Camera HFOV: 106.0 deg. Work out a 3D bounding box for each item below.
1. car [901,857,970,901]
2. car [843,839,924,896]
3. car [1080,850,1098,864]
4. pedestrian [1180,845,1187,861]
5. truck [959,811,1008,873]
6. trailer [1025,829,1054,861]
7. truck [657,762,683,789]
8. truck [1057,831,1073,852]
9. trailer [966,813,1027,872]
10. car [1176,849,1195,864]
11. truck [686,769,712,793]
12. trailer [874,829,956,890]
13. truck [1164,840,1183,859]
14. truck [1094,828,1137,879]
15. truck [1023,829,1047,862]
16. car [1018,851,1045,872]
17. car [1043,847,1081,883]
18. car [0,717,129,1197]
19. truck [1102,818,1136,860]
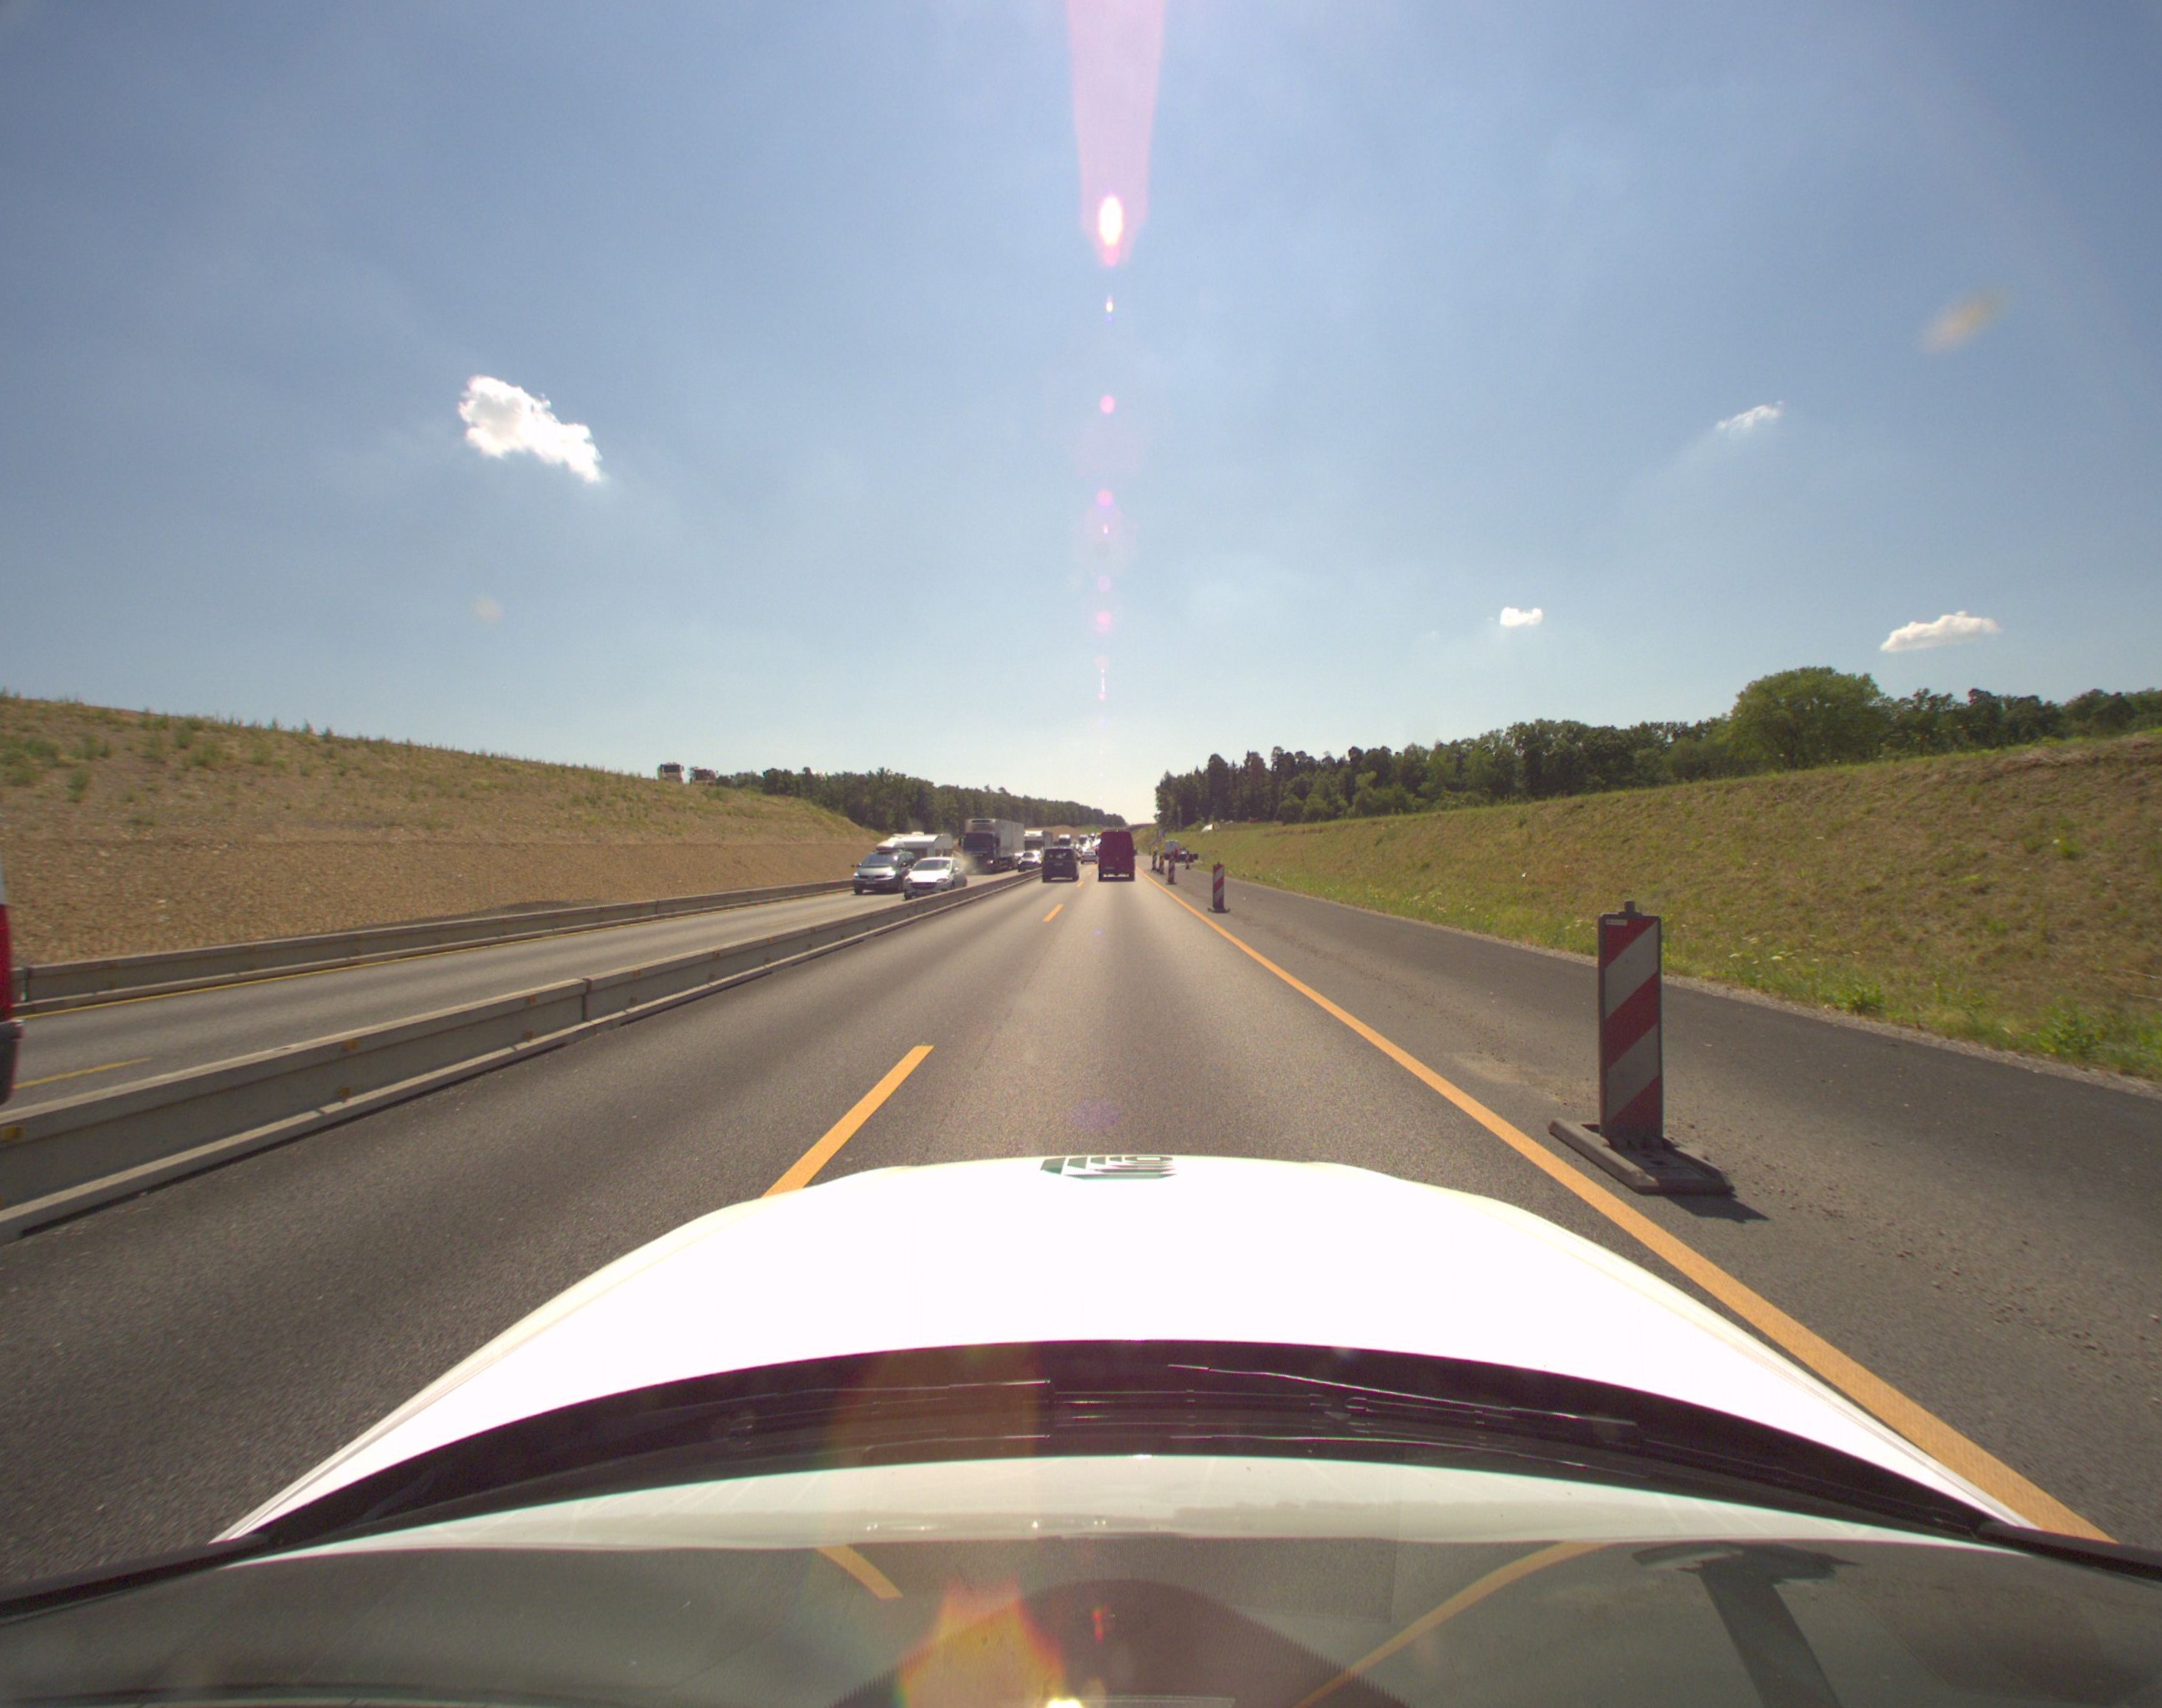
[{"bbox_3d":[-5.201,0.866,29.592,1.682,1.502,3.978,0,-1,2],"label":"car"},{"bbox_3d":[-8.196,0.526,34.243,1.986,2.155,4.867,-2,0,2],"label":"car"},{"bbox_3d":[0.918,0.375,89.723,1.824,1.522,3.963,0,0,2],"label":"car"},{"bbox_3d":[11.875,-0.124,94.081,0.624,1.828,0.640,0,0,-10],"label":"pedestrian"},{"bbox_3d":[-7.073,-0.844,60.036,2.481,4.198,5.915,-2,0,2],"label":"truck"},{"bbox_3d":[-5.449,-1.162,109.586,2.643,3.938,14.004,0,0,2],"label":"trailer"},{"bbox_3d":[-58.385,-11.062,115.526,2.371,2.898,8.280,0,-1,-33],"label":"truck"},{"bbox_3d":[-3.166,-2.554,163.849,2.757,4.044,4.946,0,-1,3],"label":"truck"},{"bbox_3d":[-6.719,-0.863,67.579,2.492,4.179,15.544,-2,0,3],"label":"trailer"},{"bbox_3d":[11.656,0.259,90.992,1.647,1.426,4.548,-3,1,3],"label":"car"},{"bbox_3d":[-57.729,-11.011,123.090,2.311,2.749,8.813,0,-1,-33],"label":"truck"},{"bbox_3d":[-7.992,0.236,40.067,2.302,2.686,6.759,-2,0,2],"label":"trailer"},{"bbox_3d":[12.418,-0.647,109.115,2.117,2.457,5.941,0,1,9],"label":"truck"},{"bbox_3d":[1.825,-0.005,44.816,2.146,2.590,5.332,0,0,0],"label":"truck"},{"bbox_3d":[-5.711,-1.040,102.474,2.582,4.053,5.151,0,0,1],"label":"truck"},{"bbox_3d":[-3.860,0.603,63.981,1.682,1.613,4.595,0,-1,2],"label":"car"},{"bbox_3d":[-0.976,0.532,44.163,1.744,1.824,4.785,0,0,2],"label":"car"},{"bbox_3d":[-6.216,0.477,1.734,1.986,2.292,5.345,0,-1,1],"label":"car"},{"bbox_3d":[5.263,-1.899,114.077,4.383,5.496,16.612,0,-1,2],"label":"truck"}]
